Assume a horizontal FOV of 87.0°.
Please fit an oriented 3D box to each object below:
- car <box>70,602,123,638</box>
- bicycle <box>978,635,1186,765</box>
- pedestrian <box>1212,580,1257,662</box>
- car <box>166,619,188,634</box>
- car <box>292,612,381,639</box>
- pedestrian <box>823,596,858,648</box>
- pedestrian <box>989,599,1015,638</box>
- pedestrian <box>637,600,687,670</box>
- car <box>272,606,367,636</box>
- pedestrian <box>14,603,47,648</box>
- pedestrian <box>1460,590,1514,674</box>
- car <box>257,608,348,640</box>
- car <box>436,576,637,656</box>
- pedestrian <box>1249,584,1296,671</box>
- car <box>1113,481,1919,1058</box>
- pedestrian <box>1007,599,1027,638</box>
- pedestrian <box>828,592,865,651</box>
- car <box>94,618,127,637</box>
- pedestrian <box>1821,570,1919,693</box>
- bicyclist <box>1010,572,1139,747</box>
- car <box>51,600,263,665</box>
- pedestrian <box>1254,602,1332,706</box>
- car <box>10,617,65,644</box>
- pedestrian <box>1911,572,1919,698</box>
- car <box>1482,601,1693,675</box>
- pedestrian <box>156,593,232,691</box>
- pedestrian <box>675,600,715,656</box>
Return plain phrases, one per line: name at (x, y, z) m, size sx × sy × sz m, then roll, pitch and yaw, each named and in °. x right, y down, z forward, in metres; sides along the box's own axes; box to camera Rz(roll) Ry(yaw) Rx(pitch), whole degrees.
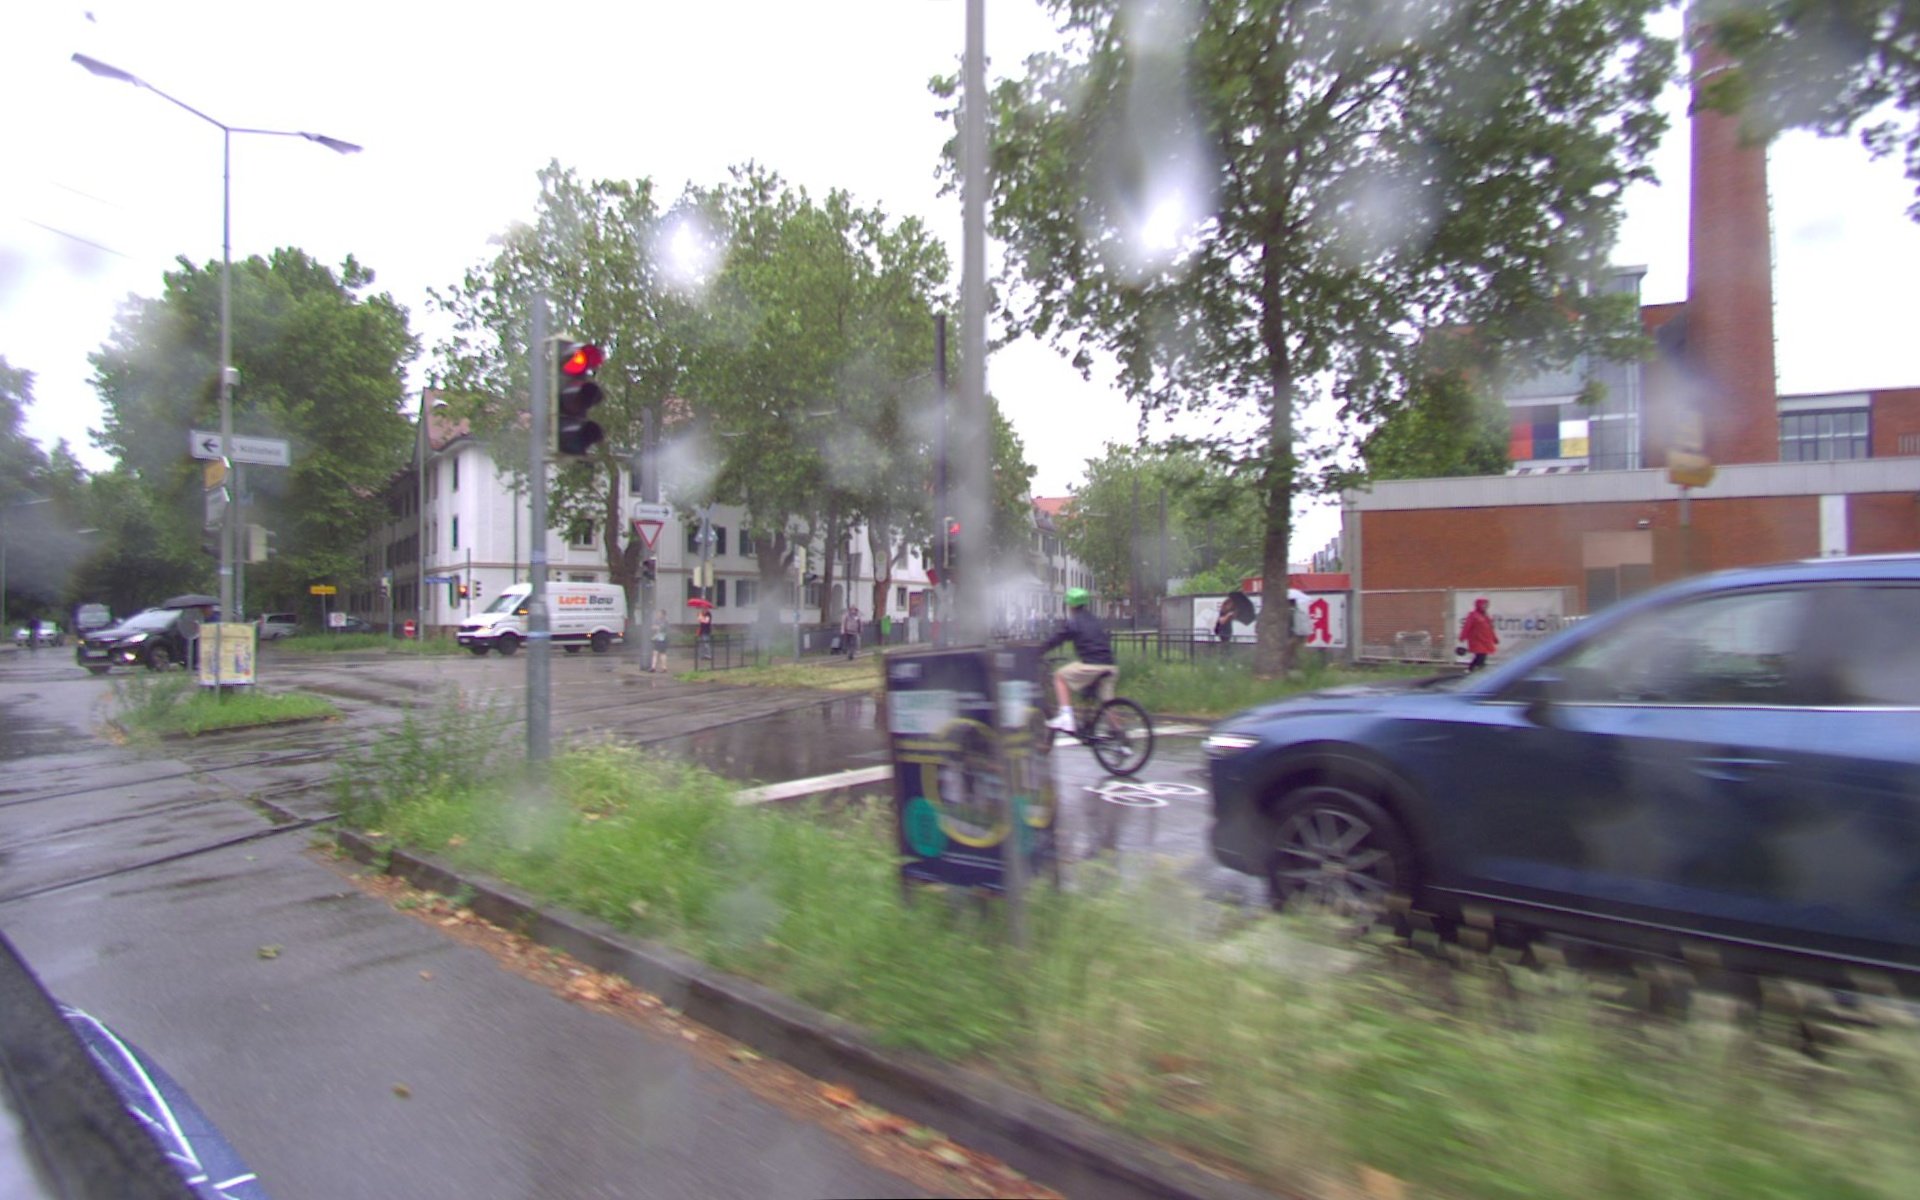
car at (-61.894, 1.439, 72.638) m, size 2.363 × 2.494 × 5.705 m, roll 1°, pitch -2°, yaw -35°
bicycle at (1.045, 0.838, 9.044) m, size 1.873 × 1.032 × 0.526 m, roll -1°, pitch -2°, yaw 40°
pedestrian at (6.486, 0.496, 23.902) m, size 0.844 × 1.876 × 0.947 m, roll -1°, pitch -2°, yaw 26°
car at (-93.802, 3.155, 121.233) m, size 1.968 × 1.820 × 4.357 m, roll 0°, pitch -1°, yaw -40°
car at (-34.188, 1.371, 55.548) m, size 3.937 × 1.364 × 1.800 m, roll -1°, pitch -1°, yaw -40°
pedestrian at (-3.985, 0.730, 33.715) m, size 0.855 × 1.701 × 0.842 m, roll -1°, pitch -2°, yaw 24°
pedestrian at (1.967, 0.854, 47.440) m, size 0.847 × 1.800 × 0.850 m, roll 1°, pitch -2°, yaw -40°
pedestrian at (-7.424, 0.861, 25.205) m, size 0.855 × 1.701 × 0.842 m, roll -1°, pitch -2°, yaw 24°
car at (-37.675, 1.244, 59.578) m, size 4.595 × 1.703 × 2.038 m, roll 1°, pitch -2°, yaw -36°
pedestrian at (-43.413, 1.200, 47.271) m, size 0.928 × 2.078 × 1.083 m, roll 1°, pitch -2°, yaw -33°
pedestrian at (9.832, 0.598, 18.922) m, size 0.844 × 1.516 × 0.821 m, roll -1°, pitch -2°, yaw 26°
car at (-40.478, 1.466, 62.352) m, size 4.595 × 1.888 × 2.038 m, roll 1°, pitch -2°, yaw -36°
car at (-14.975, 0.537, 36.241) m, size 2.279 × 2.581 × 6.435 m, roll -1°, pitch -1°, yaw 35°
pedestrian at (6.947, 0.615, 22.473) m, size 0.844 × 1.876 × 0.947 m, roll -1°, pitch -2°, yaw 26°
car at (3.232, 0.483, 4.016) m, size 2.049 × 1.695 × 4.935 m, roll -3°, pitch 0°, yaw -43°
pedestrian at (2.709, 0.879, 48.282) m, size 0.847 × 1.839 × 0.850 m, roll 0°, pitch -2°, yaw -4°
pedestrian at (-3.594, 0.693, 32.014) m, size 0.855 × 1.846 × 0.842 m, roll -1°, pitch -2°, yaw 24°
car at (-72.164, 2.341, 86.010) m, size 1.967 × 1.551 × 4.009 m, roll 0°, pitch -1°, yaw -37°
pedestrian at (11.777, 0.404, 13.053) m, size 0.632 × 1.527 × 0.774 m, roll 0°, pitch -1°, yaw -15°
bicyclist at (1.020, 0.512, 9.085) m, size 1.010 × 1.472 × 0.573 m, roll -1°, pitch -2°, yaw 40°
car at (-19.433, 0.786, 24.752) m, size 1.831 × 1.455 × 3.994 m, roll 0°, pitch -1°, yaw 4°
pedestrian at (6.581, 1.052, 20.061) m, size 0.896 × 1.979 × 1.219 m, roll 1°, pitch -2°, yaw -20°
car at (-53.568, 1.766, 58.827) m, size 1.792 × 1.470 × 4.283 m, roll 0°, pitch -1°, yaw -35°
pedestrian at (12.607, 0.440, 12.609) m, size 0.632 × 1.593 × 0.883 m, roll 0°, pitch -1°, yaw -15°
car at (12.634, 0.724, 20.411) m, size 3.601 × 1.331 × 1.850 m, roll -1°, pitch -1°, yaw -23°
pedestrian at (-12.759, 0.691, 16.863) m, size 0.641 × 1.593 × 0.853 m, roll -1°, pitch -2°, yaw 36°
pedestrian at (-8.237, 0.864, 31.466) m, size 0.844 × 1.701 × 0.853 m, roll -1°, pitch -2°, yaw 26°
